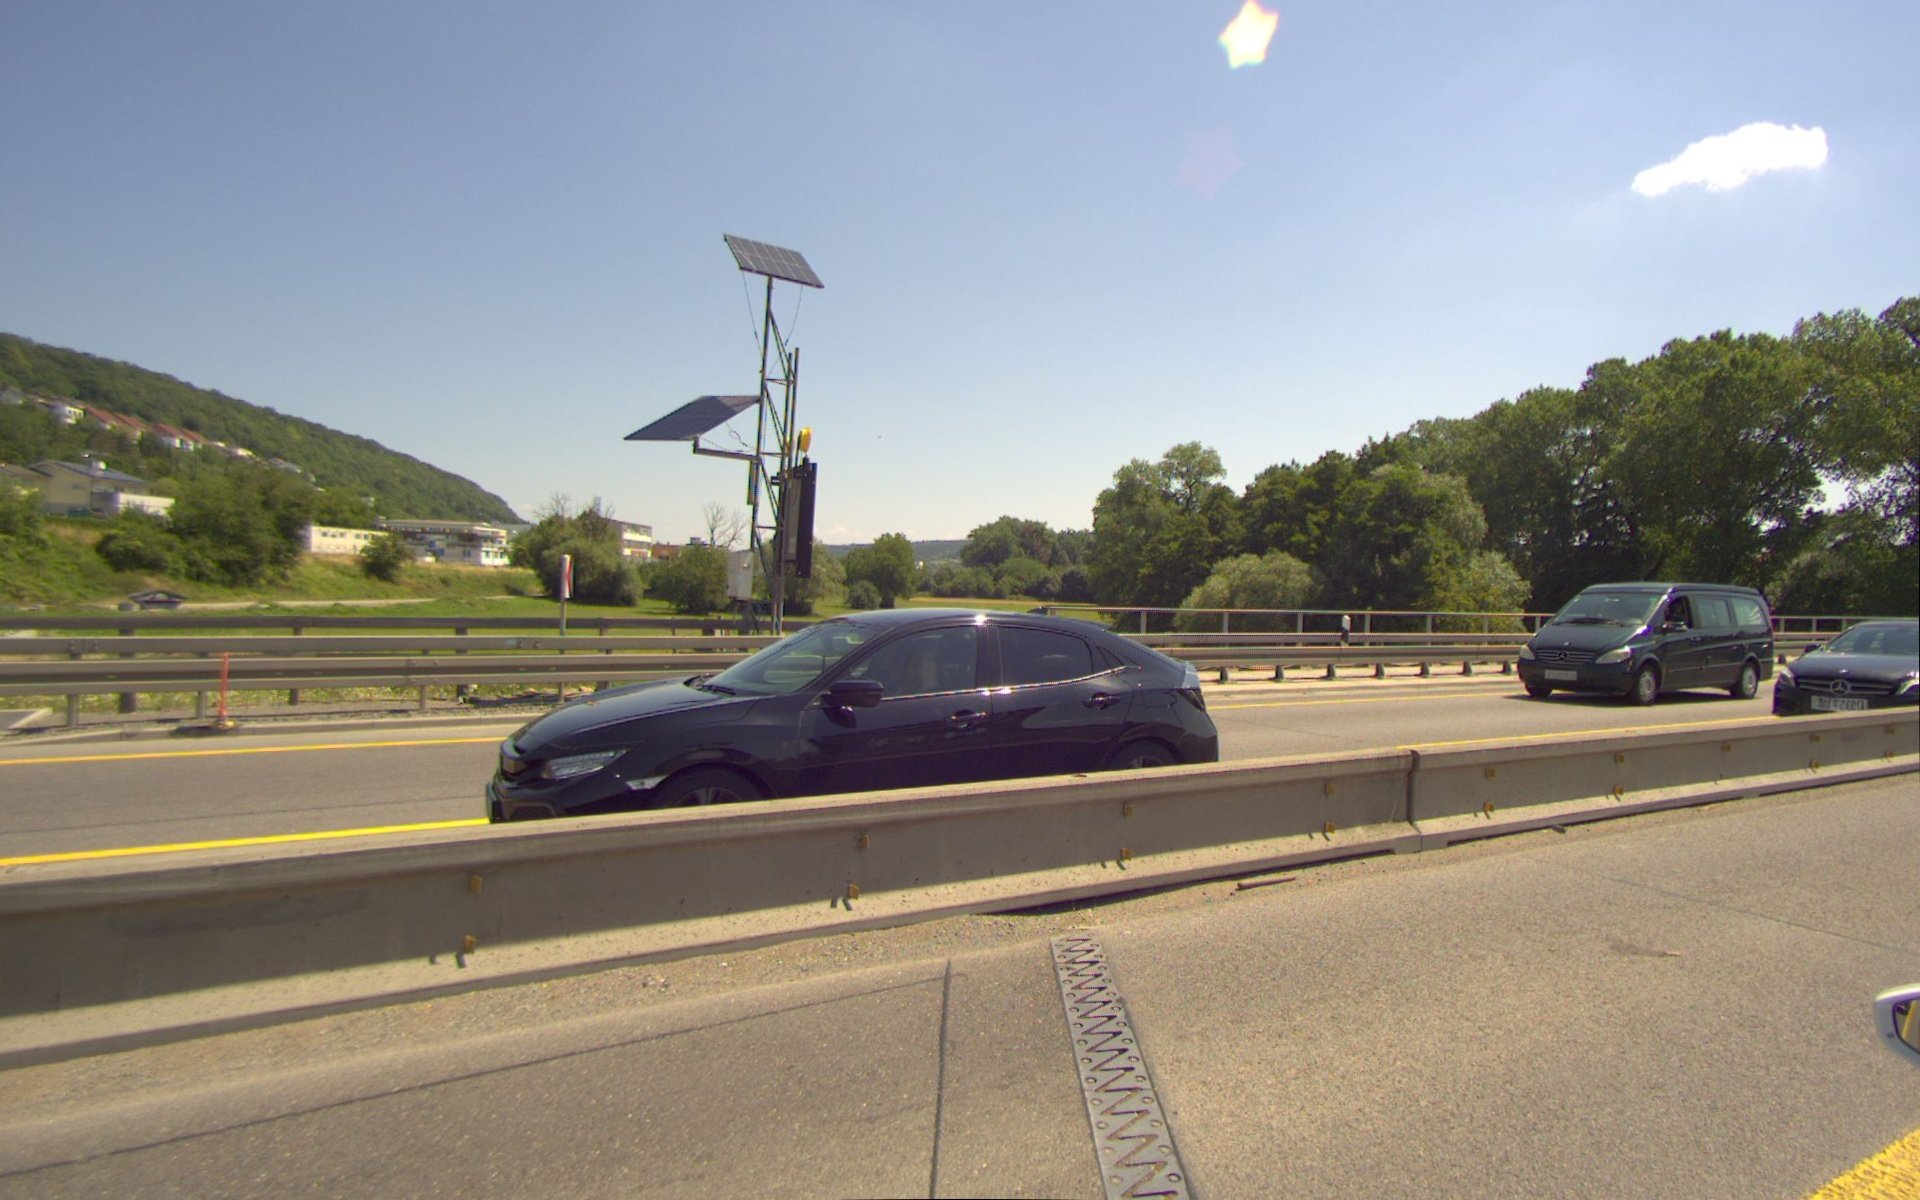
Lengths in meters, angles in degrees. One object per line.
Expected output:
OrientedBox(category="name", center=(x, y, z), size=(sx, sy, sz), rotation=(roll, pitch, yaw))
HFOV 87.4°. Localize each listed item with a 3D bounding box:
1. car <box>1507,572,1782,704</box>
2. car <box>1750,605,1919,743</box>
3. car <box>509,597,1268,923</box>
OrientedBox(category="car", center=(11.673, 0.563, 17.040), size=(5.003, 1.969, 1.812), rotation=(0, 2, -30))
OrientedBox(category="car", center=(12.470, 0.864, 13.176), size=(4.386, 1.516, 1.749), rotation=(0, 2, -29))
OrientedBox(category="car", center=(-0.313, 0.711, 6.189), size=(4.386, 1.384, 1.661), rotation=(0, 2, -29))
